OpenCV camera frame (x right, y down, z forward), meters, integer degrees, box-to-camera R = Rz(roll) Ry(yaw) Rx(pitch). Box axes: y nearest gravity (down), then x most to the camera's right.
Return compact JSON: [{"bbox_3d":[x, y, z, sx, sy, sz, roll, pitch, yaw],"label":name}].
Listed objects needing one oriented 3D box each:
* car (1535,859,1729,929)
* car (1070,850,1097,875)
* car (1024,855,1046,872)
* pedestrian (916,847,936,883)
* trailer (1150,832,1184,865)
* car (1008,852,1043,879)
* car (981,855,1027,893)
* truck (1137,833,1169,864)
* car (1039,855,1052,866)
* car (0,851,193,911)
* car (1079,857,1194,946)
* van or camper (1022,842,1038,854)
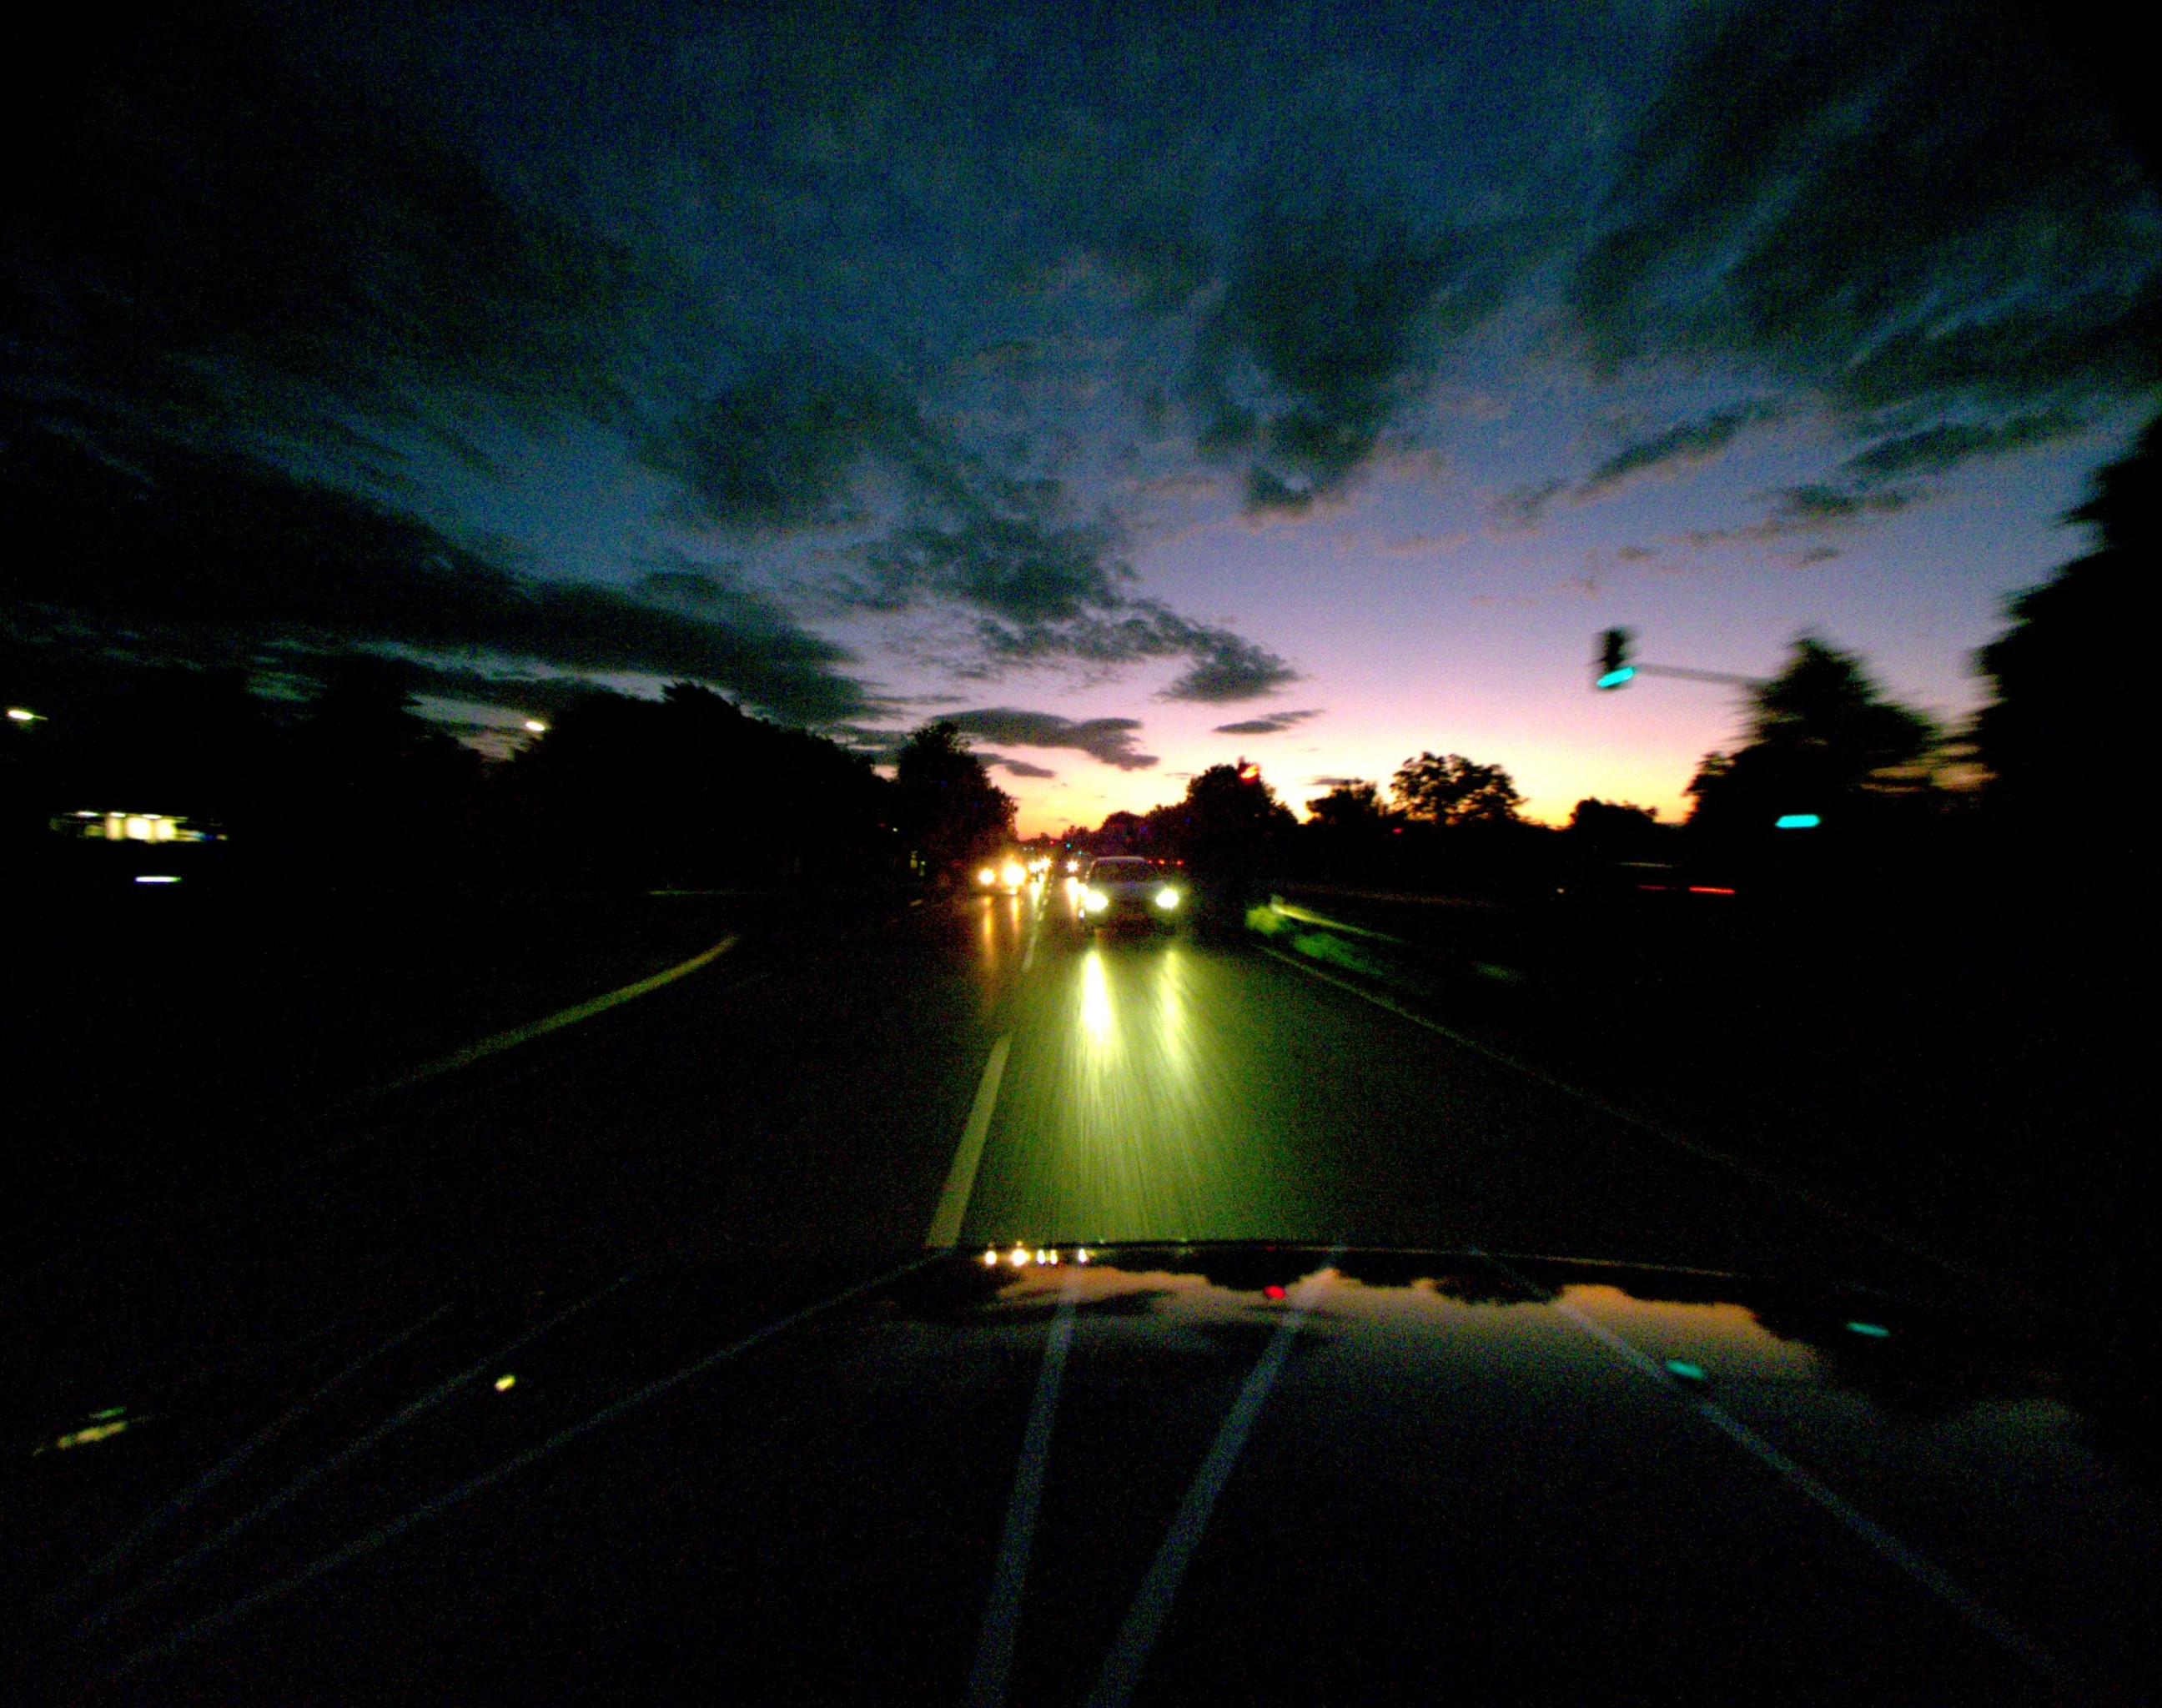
[{"bbox_3d":[13.119,0.878,18.435,1.656,1.376,4.028,-2,1,-2],"label":"car"},{"bbox_3d":[0.126,0.584,54.292,1.760,1.692,4.249,-2,0,-2],"label":"car"},{"bbox_3d":[-4.153,0.848,69.171,1.819,1.360,3.999,-2,1,-2],"label":"car"},{"bbox_3d":[-8.769,0.597,42.925,0.782,2.002,0.712,-3,2,-40],"label":"pedestrian"},{"bbox_3d":[10.755,-0.681,95.899,2.584,3.920,8.873,1,1,-4],"label":"trailer"},{"bbox_3d":[-3.508,0.724,48.754,1.902,1.547,4.300,-3,0,-1],"label":"car"},{"bbox_3d":[-3.315,0.856,33.353,1.663,1.528,3.714,-1,0,-1],"label":"car"},{"bbox_3d":[9.893,-0.796,105.469,2.733,4.093,10.340,-1,1,-4],"label":"truck"},{"bbox_3d":[-4.617,0.840,97.743,1.607,1.291,3.551,1,0,-4],"label":"car"},{"bbox_3d":[-31.282,0.803,23.622,4.486,1.654,1.994,-2,1,-41],"label":"car"},{"bbox_3d":[0.903,0.803,14.843,1.819,1.428,4.646,-1,0,-1],"label":"car"},{"bbox_3d":[-14.037,-1.549,209.860,3.950,3.107,9.940,0,0,-2],"label":"van or camper"}]
